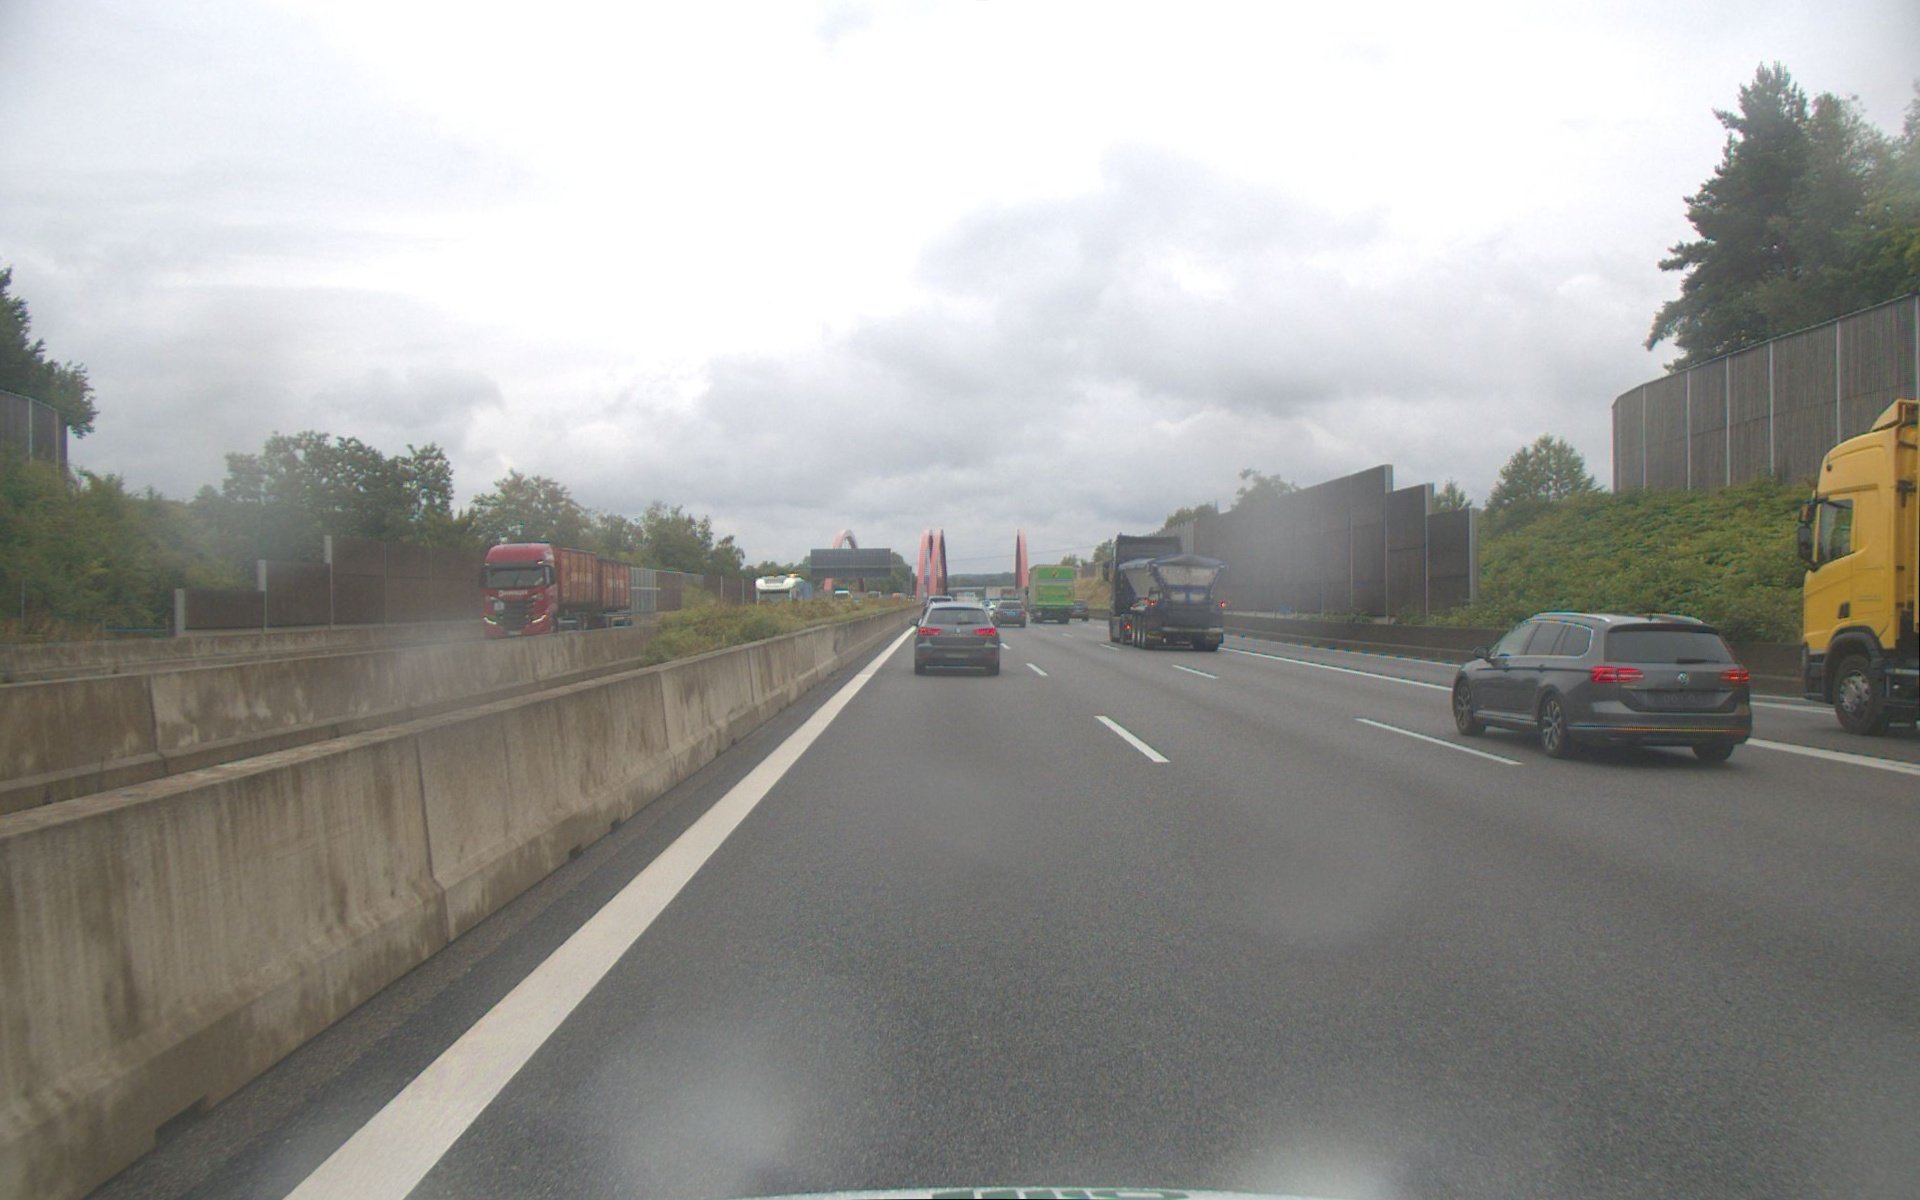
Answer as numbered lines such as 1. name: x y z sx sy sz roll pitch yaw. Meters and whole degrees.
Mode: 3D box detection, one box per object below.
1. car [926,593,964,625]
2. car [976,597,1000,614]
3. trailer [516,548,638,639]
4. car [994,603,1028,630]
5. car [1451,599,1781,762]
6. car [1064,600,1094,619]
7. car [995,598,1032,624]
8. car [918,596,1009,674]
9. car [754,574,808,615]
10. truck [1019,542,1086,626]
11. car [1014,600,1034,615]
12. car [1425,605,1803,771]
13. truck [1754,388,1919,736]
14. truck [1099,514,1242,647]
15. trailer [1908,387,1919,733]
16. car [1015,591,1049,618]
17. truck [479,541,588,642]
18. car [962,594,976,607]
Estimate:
1. car: -0.784 0.477 86.460 1.953 1.612 3.999 -1 0 -1
2. car: 2.358 0.431 140.690 1.953 1.378 3.999 -1 0 -1
3. trailer: -17.017 -0.280 74.451 2.671 3.748 12.561 0 0 -1
4. car: 2.817 0.897 91.553 1.745 1.431 3.626 1 0 0
5. car: 6.757 0.757 17.580 1.629 1.482 4.469 1 0 -1
6. car: 9.162 0.714 127.920 1.953 1.378 3.999 -1 0 -1
7. car: 2.901 0.597 90.250 1.952 1.378 4.000 0 0 0
8. car: 0.021 0.667 33.737 1.728 1.478 3.999 1 0 -2
9. car: -10.208 -0.282 94.708 2.325 2.231 7.722 0 0 -1
10. truck: 6.233 -1.016 113.453 3.915 5.358 11.219 1 0 0
11. car: 7.024 0.831 182.064 1.917 1.676 3.999 1 0 -1
12. car: 6.810 0.825 17.972 1.900 1.452 5.287 1 0 -1
13. truck: 12.431 -0.422 18.203 2.631 4.027 9.323 1 0 -2
14. truck: 6.954 -0.576 56.838 3.027 4.019 12.941 -1 0 -1
15. trailer: 12.663 -0.471 11.083 2.597 4.022 16.680 1 0 -2
16. car: 4.690 0.282 108.666 1.953 1.780 3.999 -1 0 -1
17. truck: -17.008 -0.315 66.335 2.641 3.771 6.480 1 0 0
18. car: 1.344 0.084 240.566 1.953 1.847 4.000 1 0 0
